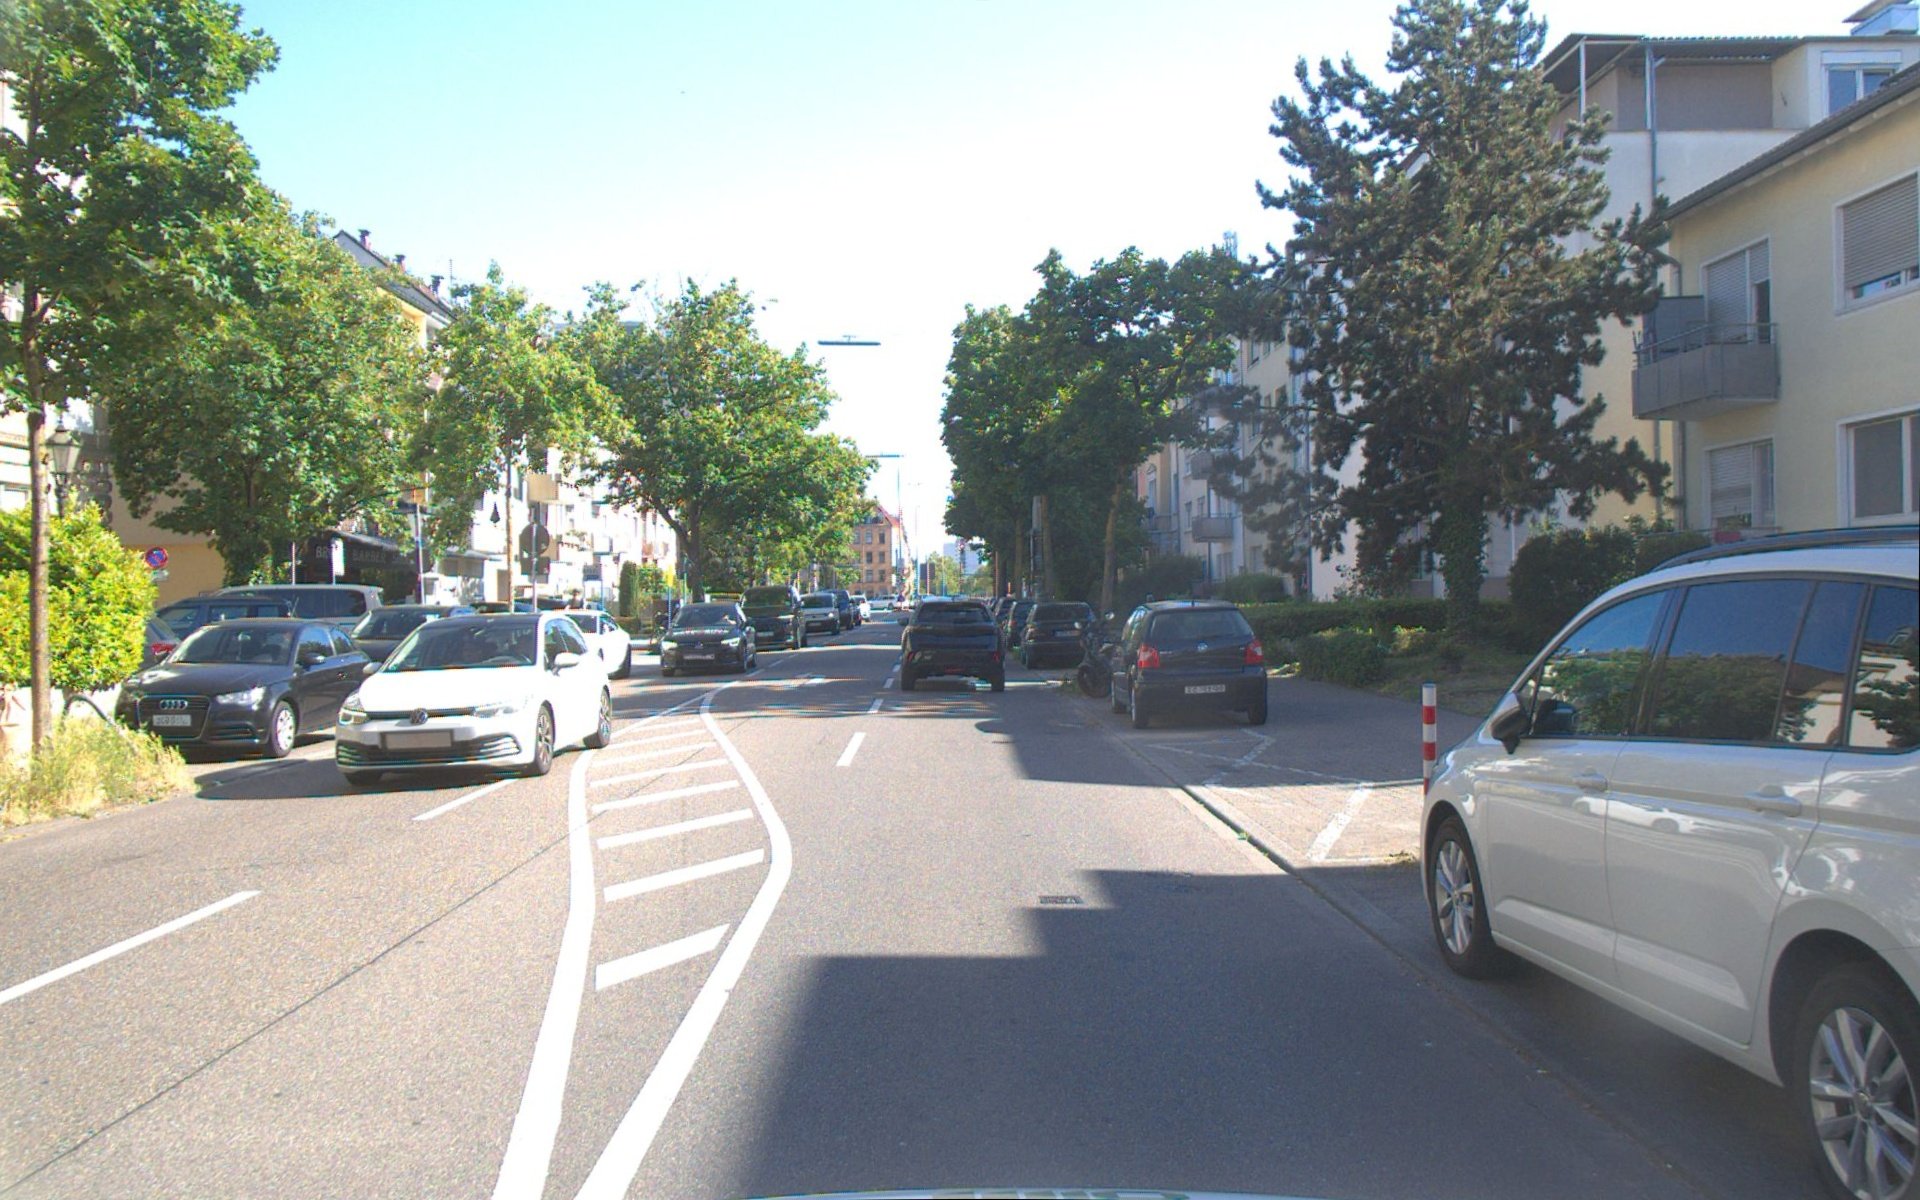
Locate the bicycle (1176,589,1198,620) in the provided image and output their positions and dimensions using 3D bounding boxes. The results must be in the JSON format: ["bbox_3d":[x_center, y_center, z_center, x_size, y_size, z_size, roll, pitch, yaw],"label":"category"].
[{"bbox_3d":[9.958,0.180,72.624,0.610,1.309,1.842,-3,0,-1],"label":"bicycle"}]

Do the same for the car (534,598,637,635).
[{"bbox_3d":[-15.594,0.688,69.008,3.906,1.512,1.880,0,0,-2],"label":"car"}]

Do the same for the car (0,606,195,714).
[{"bbox_3d":[-13.678,0.878,24.860,3.865,1.514,1.616,0,1,-29],"label":"car"}]

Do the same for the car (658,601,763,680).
[{"bbox_3d":[-5.309,0.821,35.578,1.657,1.479,4.172,-3,0,-2],"label":"car"}]

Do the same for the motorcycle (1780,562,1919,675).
[{"bbox_3d":[11.806,0.220,21.890,0.623,1.399,2.425,-2,0,-1],"label":"motorcycle"}]

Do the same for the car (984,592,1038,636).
[{"bbox_3d":[1.839,0.496,60.886,1.680,1.515,4.232,-1,0,-2],"label":"car"}]

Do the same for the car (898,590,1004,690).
[{"bbox_3d":[-0.180,0.649,28.648,1.710,1.601,3.557,1,0,-1],"label":"car"}]

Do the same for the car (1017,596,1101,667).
[{"bbox_3d":[2.153,0.663,37.057,1.554,1.420,4.453,-2,0,0],"label":"car"}]

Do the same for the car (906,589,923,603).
[{"bbox_3d":[-5.267,-0.474,191.291,1.735,1.478,3.886,-1,0,1],"label":"car"}]

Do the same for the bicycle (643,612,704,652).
[{"bbox_3d":[-8.610,0.955,49.654,1.893,1.155,0.462,0,0,27],"label":"bicycle"}]

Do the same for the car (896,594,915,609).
[{"bbox_3d":[-5.562,0.104,168.314,1.735,1.478,3.886,-1,0,1],"label":"car"}]

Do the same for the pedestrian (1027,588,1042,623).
[{"bbox_3d":[3.662,0.262,81.729,0.656,1.711,0.775,-1,0,-1],"label":"pedestrian"}]

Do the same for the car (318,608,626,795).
[{"bbox_3d":[-4.474,0.851,15.840,1.698,1.437,4.191,-3,0,-1],"label":"car"}]

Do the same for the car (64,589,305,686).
[{"bbox_3d":[-14.008,0.633,30.037,3.858,1.673,1.667,0,1,-25],"label":"car"}]

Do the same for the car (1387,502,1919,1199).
[{"bbox_3d":[2.875,0.598,5.221,1.733,1.688,4.339,-2,0,-2],"label":"car"}]

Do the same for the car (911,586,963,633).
[{"bbox_3d":[-0.801,0.316,59.565,1.792,1.606,3.839,-1,0,0],"label":"car"}]

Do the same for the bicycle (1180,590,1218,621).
[{"bbox_3d":[10.273,0.242,71.034,1.506,1.244,0.463,-4,0,30],"label":"bicycle"}]

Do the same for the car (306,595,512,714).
[{"bbox_3d":[-7.903,0.716,24.103,1.643,1.582,4.007,0,0,0],"label":"car"}]

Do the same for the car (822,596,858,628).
[{"bbox_3d":[-6.637,0.637,91.642,1.684,1.593,4.341,-3,0,-1],"label":"car"}]

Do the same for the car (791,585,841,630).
[{"bbox_3d":[-6.108,0.318,70.694,1.779,1.773,4.492,-3,0,-2],"label":"car"}]

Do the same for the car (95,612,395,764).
[{"bbox_3d":[-7.809,0.894,18.502,1.603,1.441,4.089,1,0,-1],"label":"car"}]

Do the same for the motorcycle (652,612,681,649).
[{"bbox_3d":[-9.592,0.979,54.046,0.451,1.145,1.718,0,1,7],"label":"motorcycle"}]

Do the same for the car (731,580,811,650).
[{"bbox_3d":[-5.812,0.438,51.411,1.976,1.986,5.176,-3,0,-2],"label":"car"}]

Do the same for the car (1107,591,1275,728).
[{"bbox_3d":[2.797,0.671,20.709,1.587,1.525,3.649,-2,0,0],"label":"car"}]

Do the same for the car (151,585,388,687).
[{"bbox_3d":[-13.731,0.662,32.950,4.262,1.912,1.864,0,1,-27],"label":"car"}]

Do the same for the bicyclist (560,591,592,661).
[{"bbox_3d":[-10.400,0.700,44.768,0.650,1.856,1.047,-1,0,-23],"label":"bicyclist"}]

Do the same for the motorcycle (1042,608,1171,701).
[{"bbox_3d":[2.168,0.799,24.807,0.689,1.294,2.409,-3,0,-28],"label":"motorcycle"}]

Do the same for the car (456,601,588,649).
[{"bbox_3d":[-14.493,0.809,54.726,3.903,1.481,1.734,0,1,17],"label":"car"}]

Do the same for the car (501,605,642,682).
[{"bbox_3d":[-7.788,0.831,33.588,1.796,1.413,4.801,0,0,-1],"label":"car"}]

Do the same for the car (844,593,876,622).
[{"bbox_3d":[-6.313,0.447,104.946,1.770,1.676,4.671,-3,0,-2],"label":"car"}]

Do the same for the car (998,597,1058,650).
[{"bbox_3d":[1.967,0.656,48.332,1.657,1.453,4.148,-1,0,2],"label":"car"}]

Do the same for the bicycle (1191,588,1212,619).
[{"bbox_3d":[10.607,0.137,72.687,0.579,1.309,1.689,-3,0,-1],"label":"bicycle"}]

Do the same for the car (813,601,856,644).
[{"bbox_3d":[-6.148,1.074,81.512,1.767,1.944,4.711,-3,0,-1],"label":"car"}]
